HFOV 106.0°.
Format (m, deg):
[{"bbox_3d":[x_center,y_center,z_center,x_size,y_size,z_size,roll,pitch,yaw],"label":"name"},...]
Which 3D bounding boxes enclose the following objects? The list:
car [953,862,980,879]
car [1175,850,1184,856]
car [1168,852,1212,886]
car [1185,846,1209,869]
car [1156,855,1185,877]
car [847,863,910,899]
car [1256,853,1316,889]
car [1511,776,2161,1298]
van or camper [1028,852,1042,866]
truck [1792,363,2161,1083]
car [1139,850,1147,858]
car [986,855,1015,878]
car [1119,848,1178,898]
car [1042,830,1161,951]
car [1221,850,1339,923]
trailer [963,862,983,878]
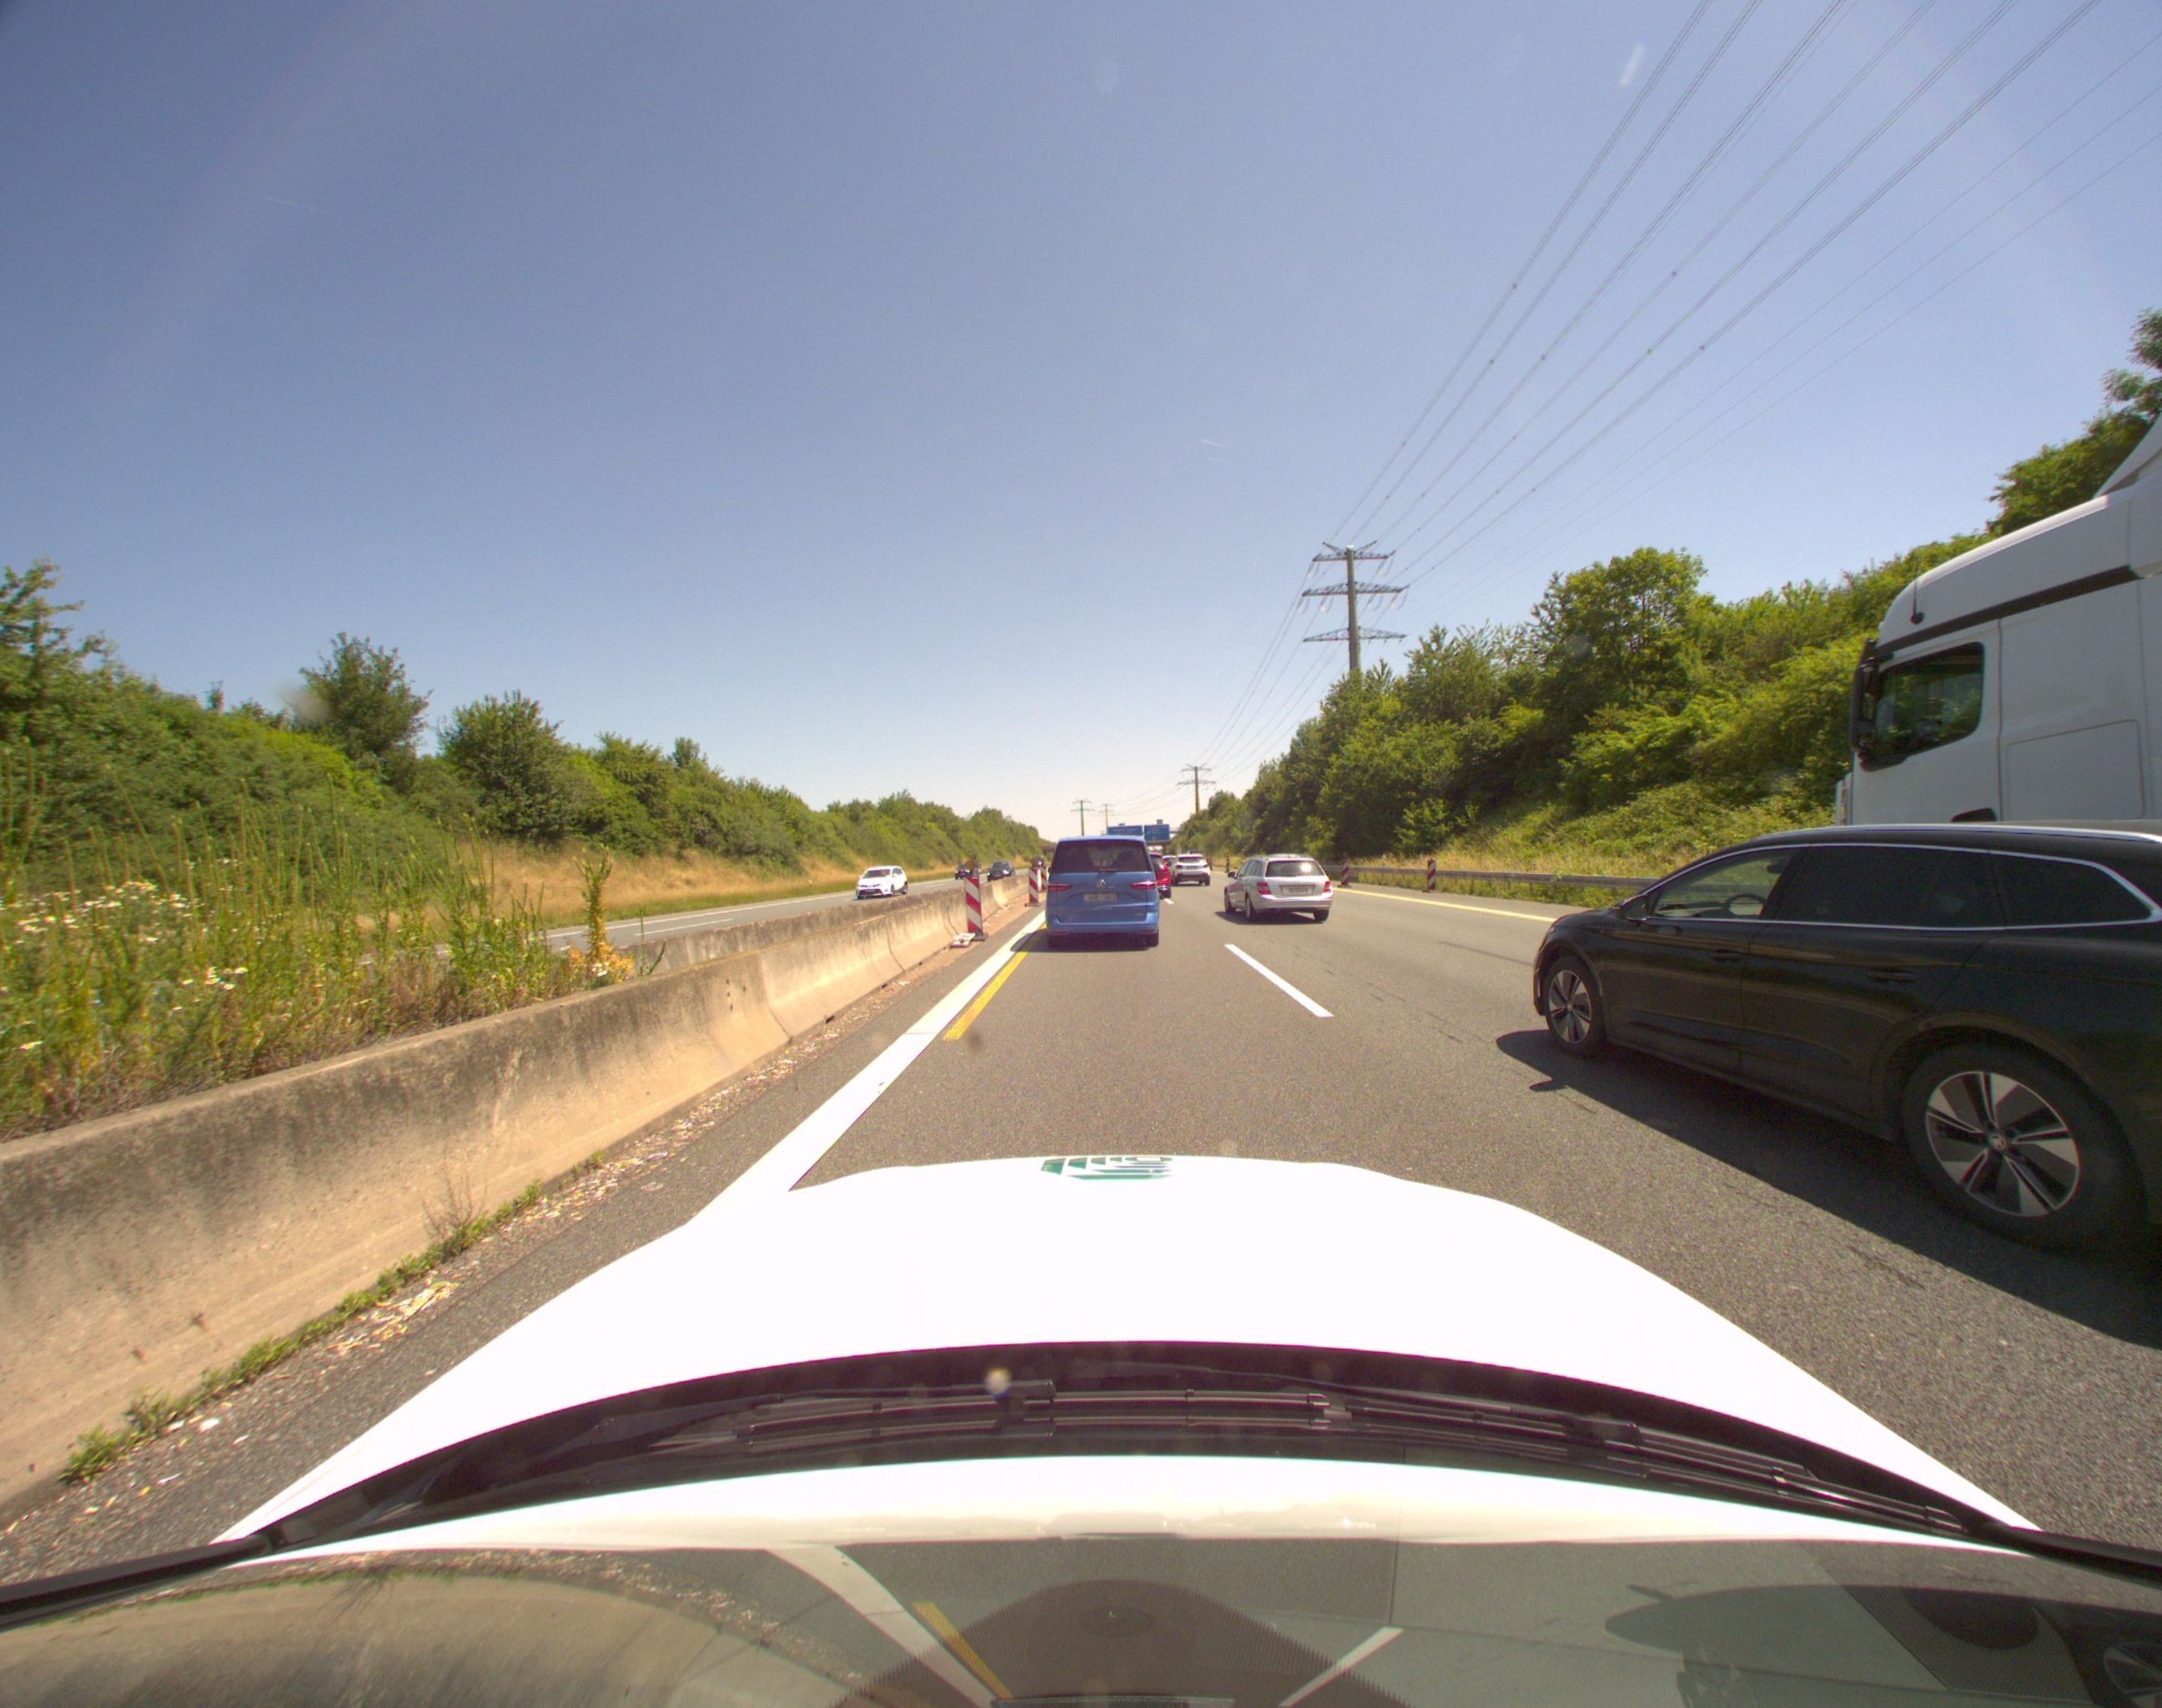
[{"bbox_3d":[-12.164,1.736,86.570,1.986,1.650,4.632,-4,0,2],"label":"car"},{"bbox_3d":[24.712,-0.239,204.771,1.868,1.671,4.360,0,0,1],"label":"car"},{"bbox_3d":[5.383,0.722,40.692,1.791,1.594,4.228,0,0,2],"label":"car"},{"bbox_3d":[10.258,0.296,72.296,1.790,2.014,4.230,0,0,3],"label":"car"},{"bbox_3d":[6.547,0.855,59.664,1.791,1.594,4.228,0,0,2],"label":"car"},{"bbox_3d":[-10.423,1.347,42.234,1.986,1.662,4.231,-3,0,2],"label":"car"},{"bbox_3d":[8.532,0.690,34.185,1.694,1.448,3.789,0,0,2],"label":"car"},{"bbox_3d":[4.299,0.588,4.379,1.695,1.655,4.430,0,0,1],"label":"car"},{"bbox_3d":[-9.331,1.075,165.898,2.215,2.710,7.081,-4,0,1],"label":"van or camper"},{"bbox_3d":[7.429,-0.746,4.108,2.723,4.047,5.796,0,-1,2],"label":"truck"},{"bbox_3d":[19.449,-0.110,257.268,2.368,2.428,4.228,0,0,2],"label":"car"},{"bbox_3d":[-6.117,0.964,62.383,1.767,1.699,4.171,0,0,1],"label":"car"},{"bbox_3d":[2.395,0.655,29.706,1.868,1.671,4.360,0,0,1],"label":"car"},{"bbox_3d":[0.371,0.592,15.039,1.868,1.912,4.360,0,0,1],"label":"car"},{"bbox_3d":[4.517,0.697,19.134,1.764,1.517,4.360,0,0,1],"label":"car"},{"bbox_3d":[-12.005,1.773,90.788,1.563,1.552,3.781,-4,0,2],"label":"trailer"}]
